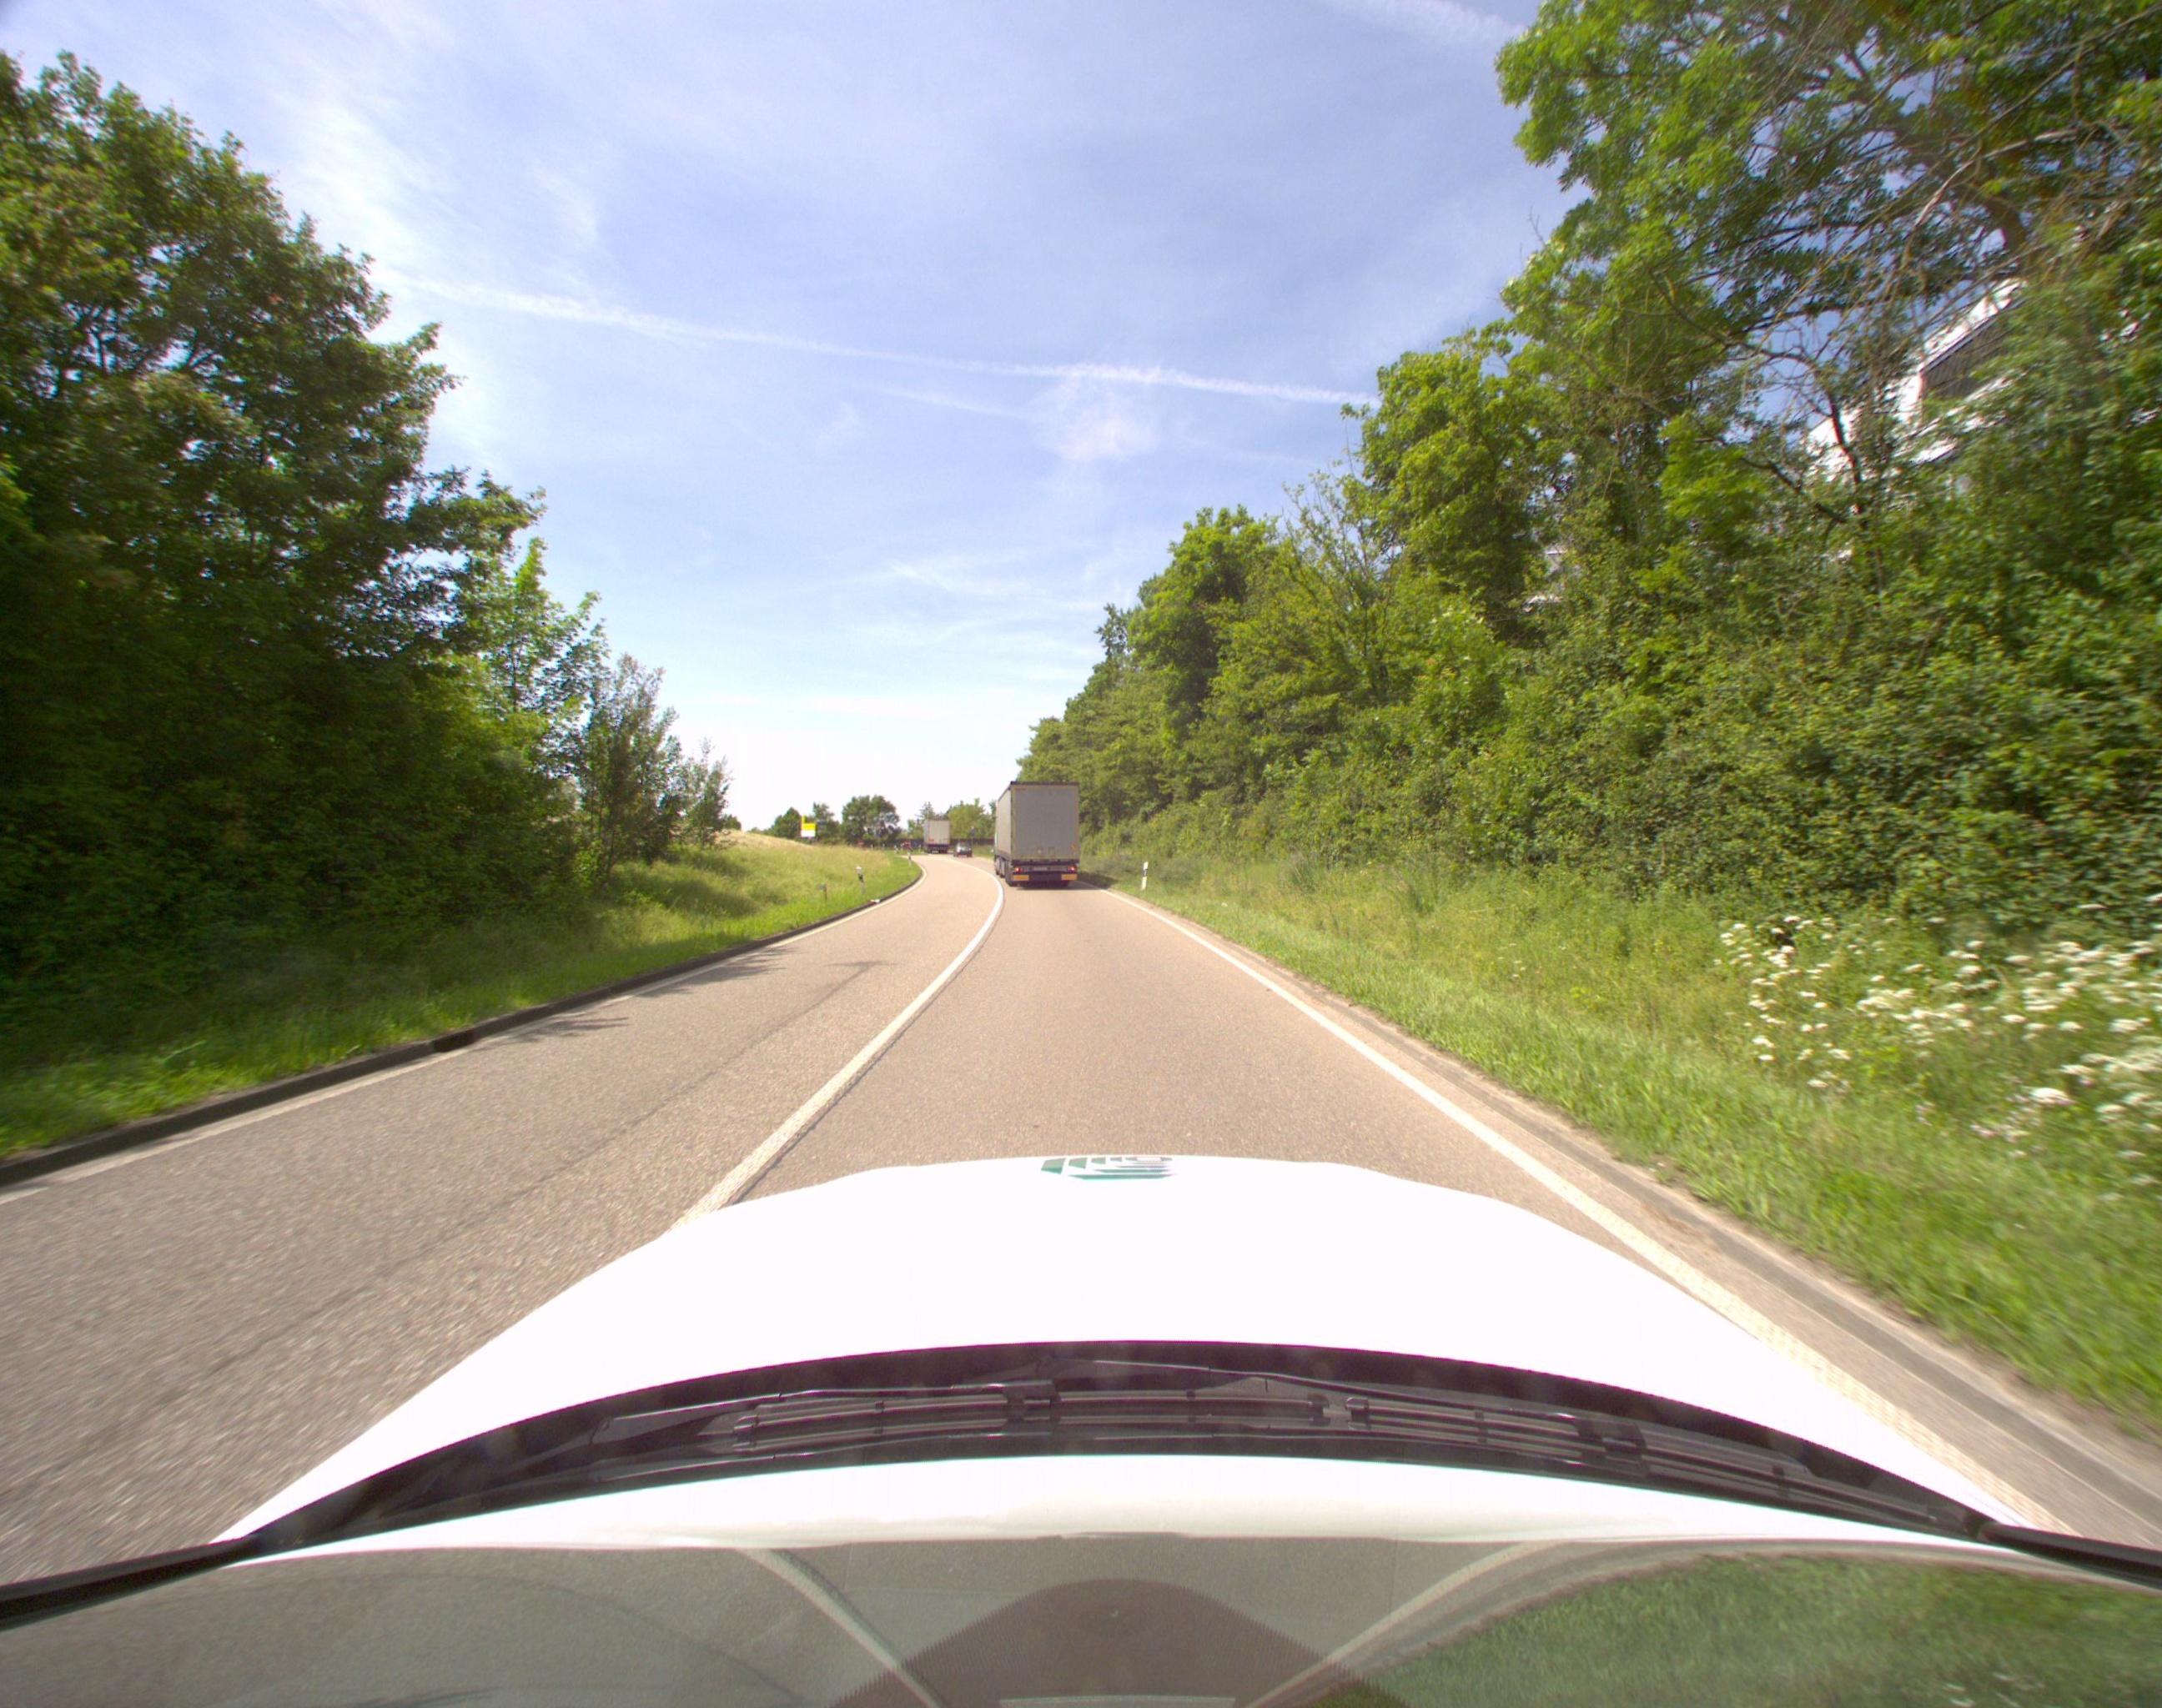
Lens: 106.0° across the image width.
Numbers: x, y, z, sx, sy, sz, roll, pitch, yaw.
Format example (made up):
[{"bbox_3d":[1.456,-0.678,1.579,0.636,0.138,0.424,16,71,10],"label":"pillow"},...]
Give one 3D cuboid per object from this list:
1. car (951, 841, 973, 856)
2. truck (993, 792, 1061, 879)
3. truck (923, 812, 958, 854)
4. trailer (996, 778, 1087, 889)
[{"bbox_3d":[-12.375,-0.541,84.519,1.670,1.486,3.977,0,1,-17],"label":"car"},{"bbox_3d":[-2.994,-0.888,42.982,3.151,4.224,7.103,0,0,-8],"label":"truck"},{"bbox_3d":[-17.585,-2.540,101.163,3.830,4.744,16.141,0,1,-11],"label":"truck"},{"bbox_3d":[-2.109,-0.758,36.187,3.024,4.034,13.317,0,0,-7],"label":"trailer"}]
